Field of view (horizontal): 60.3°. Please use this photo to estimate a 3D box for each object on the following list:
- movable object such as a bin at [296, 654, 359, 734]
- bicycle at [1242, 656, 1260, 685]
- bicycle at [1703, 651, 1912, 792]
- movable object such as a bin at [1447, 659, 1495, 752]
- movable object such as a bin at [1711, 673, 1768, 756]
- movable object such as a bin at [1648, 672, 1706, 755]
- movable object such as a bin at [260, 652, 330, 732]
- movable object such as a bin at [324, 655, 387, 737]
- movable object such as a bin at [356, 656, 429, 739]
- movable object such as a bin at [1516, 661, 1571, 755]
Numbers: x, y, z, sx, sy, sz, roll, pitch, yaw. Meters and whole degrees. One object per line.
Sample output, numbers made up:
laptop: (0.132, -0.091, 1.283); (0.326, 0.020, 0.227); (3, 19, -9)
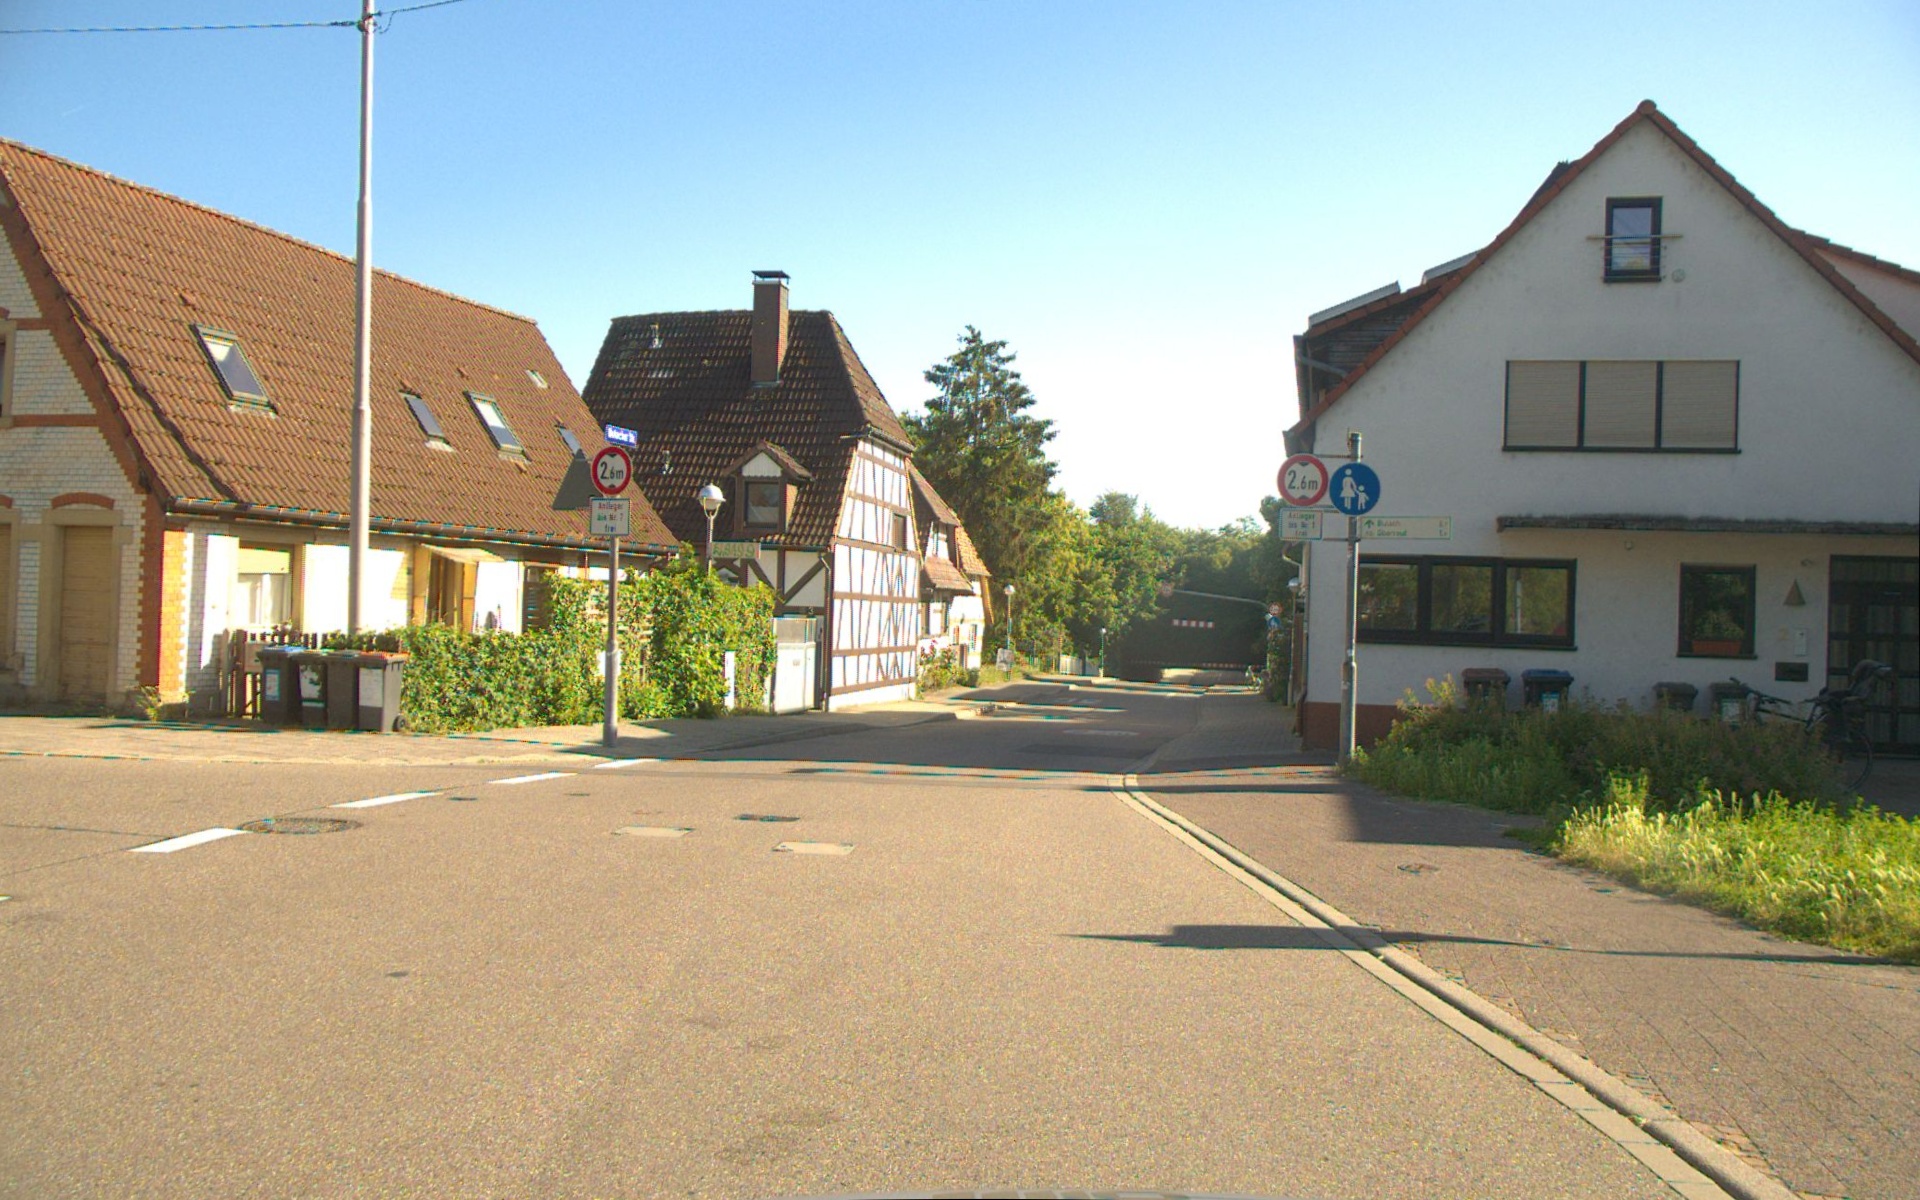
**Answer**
movable object such as a bin: (-7.724, 1.144, 20.199); (0.403, 0.921, 0.626); (1, 0, 17)
bicycle: (12.757, 3.089, 72.486); (0.674, 1.177, 1.540); (-3, -2, 9)
bicycle: (8.457, 1.193, 16.560); (1.700, 1.306, 0.701); (2, -1, 7)
movable object such as a bin: (6.660, 1.364, 21.563); (0.470, 1.142, 0.749); (1, 0, 9)
movable object such as a bin: (9.925, 1.451, 21.072); (0.487, 0.994, 0.594); (1, 0, 9)
movable object such as a bin: (9.170, 1.439, 21.169); (0.518, 1.000, 0.670); (1, 0, 9)
movable object such as a bin: (-8.176, 1.125, 20.337); (0.497, 0.941, 0.626); (1, 0, 17)
movable object such as a bin: (-7.325, 1.154, 20.065); (0.402, 0.941, 0.626); (1, 0, 17)
movable object such as a bin: (-6.832, 1.167, 19.930); (0.544, 0.941, 0.626); (1, 0, 17)
movable object such as a bin: (7.516, 1.381, 21.312); (0.515, 1.142, 0.749); (1, 0, 9)
